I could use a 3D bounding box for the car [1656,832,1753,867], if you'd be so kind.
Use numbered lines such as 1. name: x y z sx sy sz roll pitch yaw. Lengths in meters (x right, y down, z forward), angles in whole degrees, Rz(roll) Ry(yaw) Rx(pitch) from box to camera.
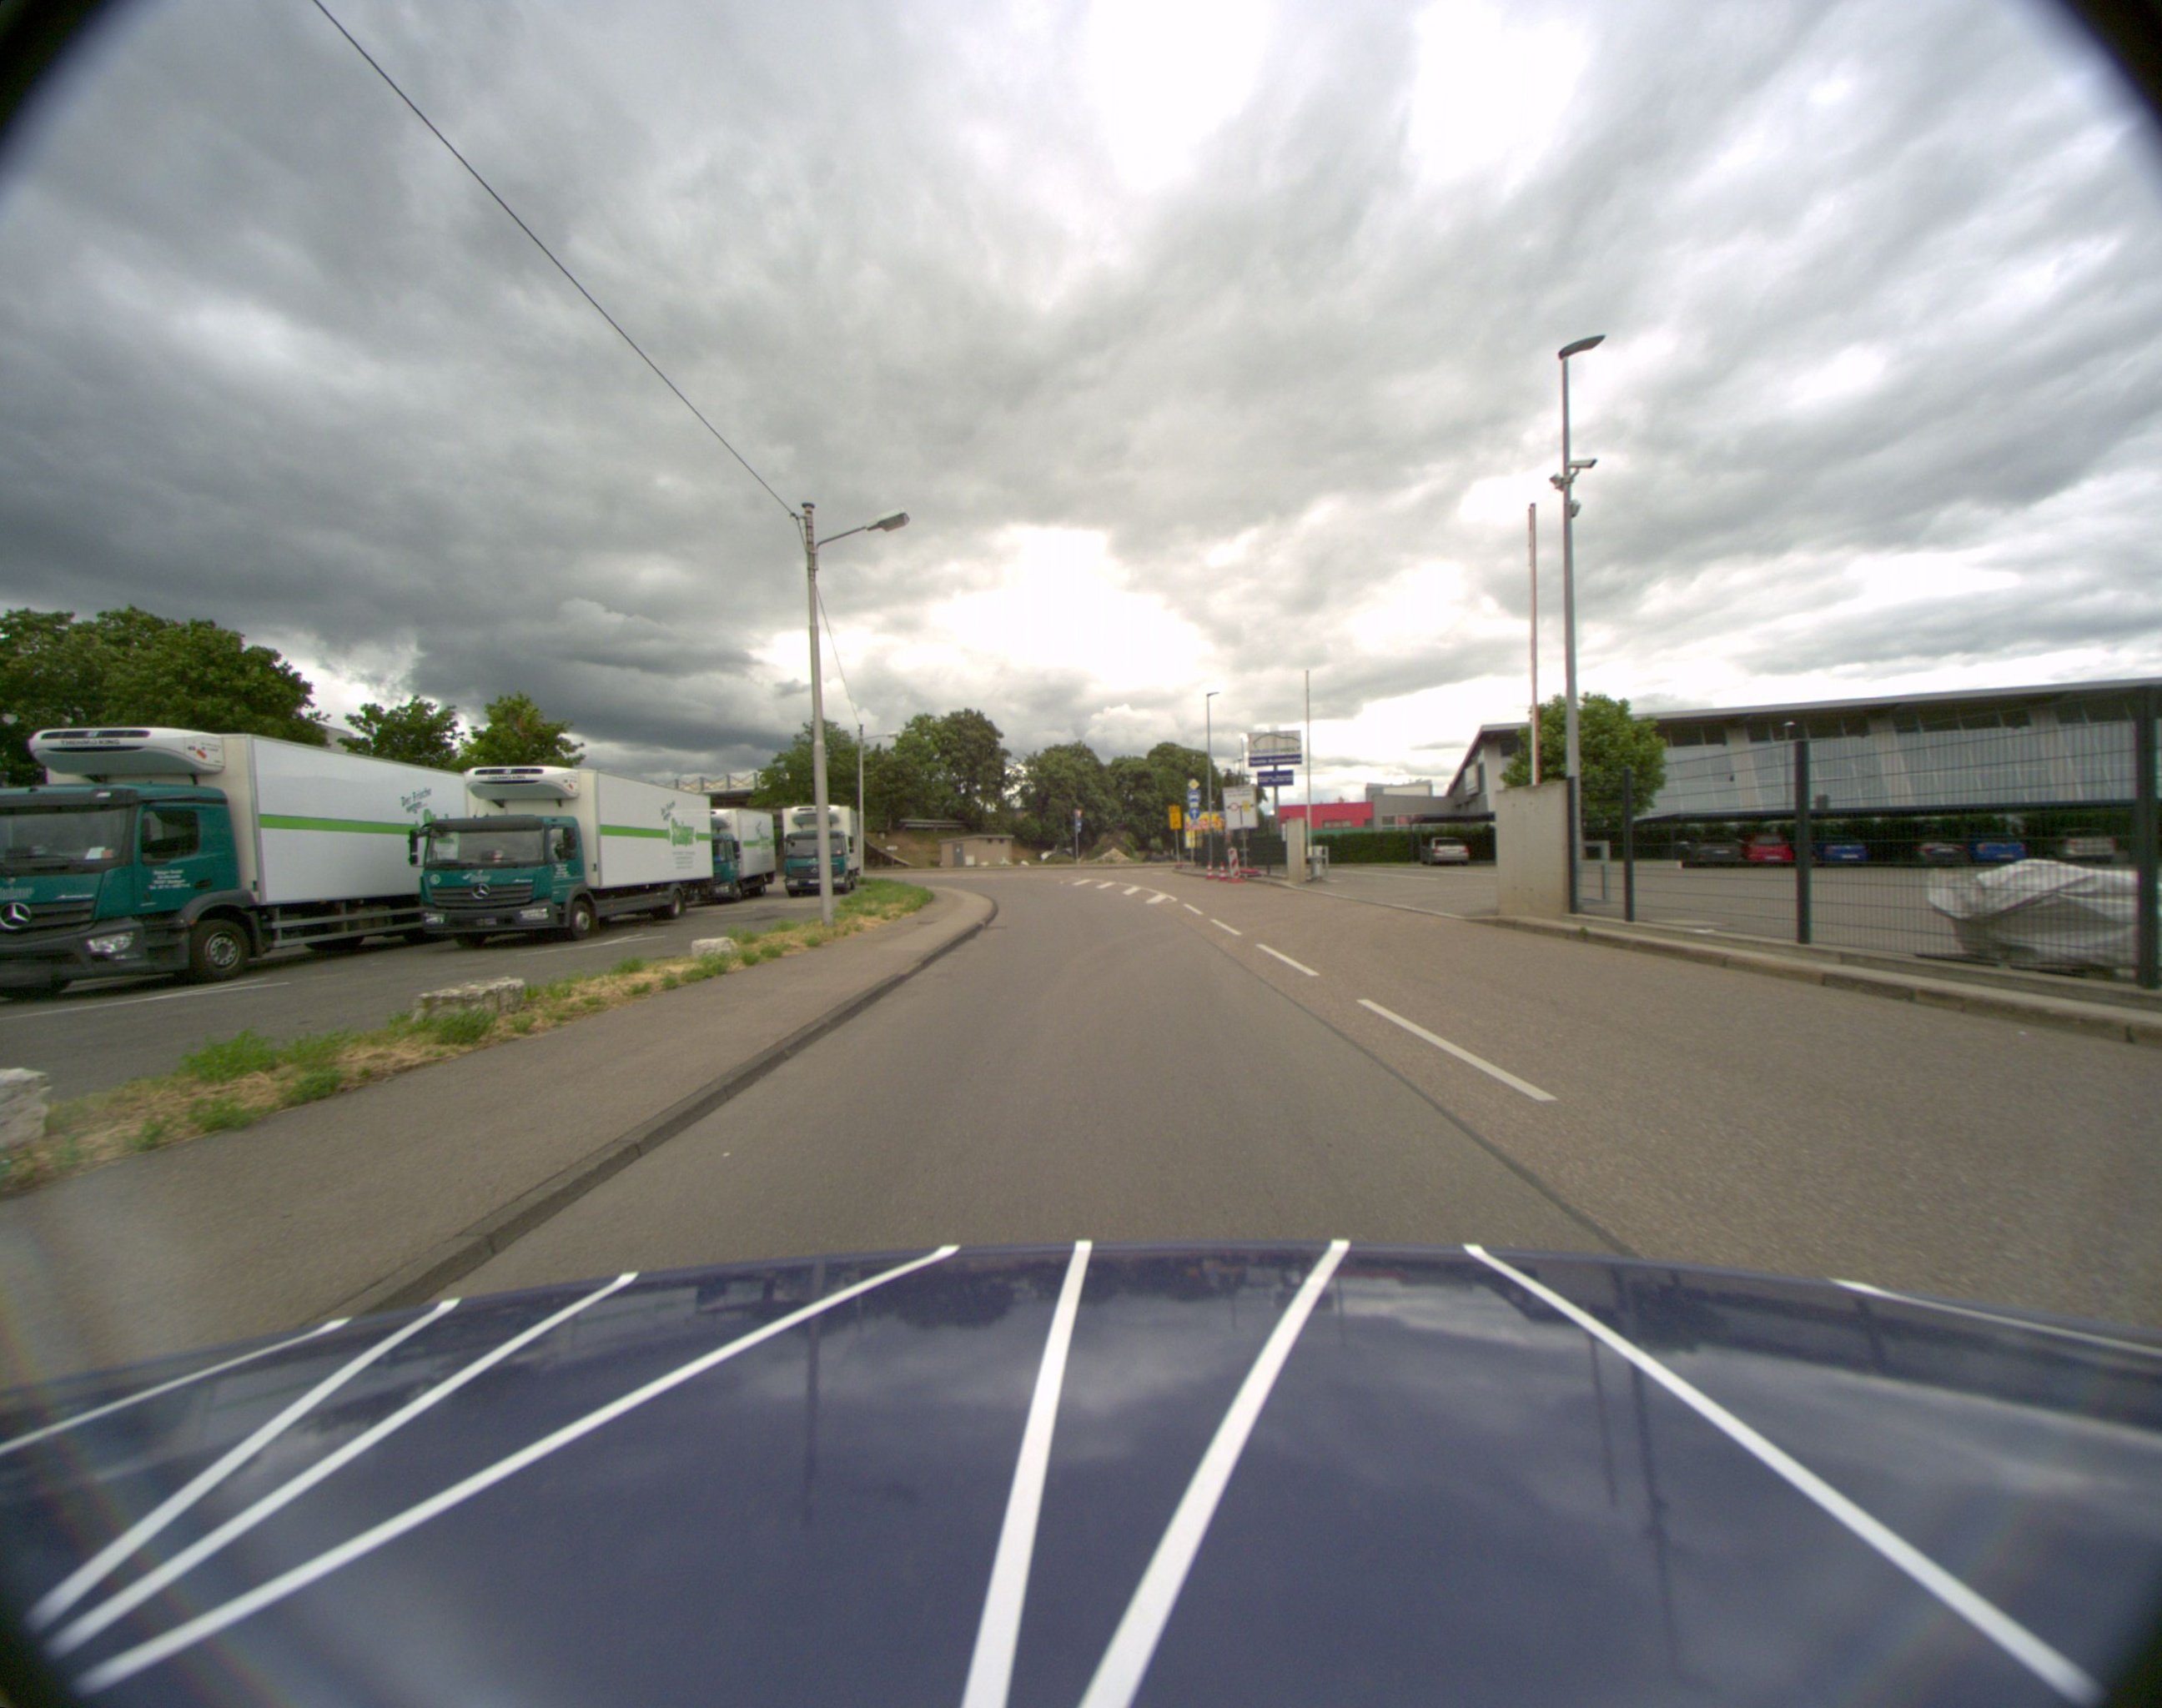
1. car: 29.032 -0.250 35.549 1.964 1.484 4.251 -1 1 15

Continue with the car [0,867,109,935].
1. car: -34.990 1.515 25.552 3.990 2.039 2.003 -1 1 27

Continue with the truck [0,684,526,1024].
1. truck: -15.387 -0.066 14.976 2.989 4.408 10.544 -3 2 -13

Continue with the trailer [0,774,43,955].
1. trailer: -23.152 0.216 10.772 3.067 3.953 13.080 0 0 -19

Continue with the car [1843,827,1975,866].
1. car: 35.998 -0.352 33.218 1.964 1.550 4.251 -1 1 15

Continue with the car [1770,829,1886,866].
1. car: 33.948 -0.338 34.707 1.964 1.550 4.251 -1 1 15

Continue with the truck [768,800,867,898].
1. truck: -11.200 -0.286 33.178 3.074 3.611 8.593 -3 2 -14

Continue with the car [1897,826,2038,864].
1. car: 38.653 -0.418 33.310 1.964 1.550 4.251 -1 1 15

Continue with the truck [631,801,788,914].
1. truck: -14.334 0.022 30.263 3.073 3.611 8.595 -5 2 -10

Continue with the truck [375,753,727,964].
1. truck: -12.286 0.047 19.420 2.989 3.809 10.424 -3 1 -10

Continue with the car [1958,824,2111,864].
1. car: 40.800 -0.454 32.694 1.964 1.550 4.251 -1 1 15

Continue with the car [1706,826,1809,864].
1. car: 31.707 -0.438 35.780 1.964 1.638 4.251 -1 1 15

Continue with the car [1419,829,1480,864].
1. car: 18.923 -0.419 39.237 2.070 1.660 4.251 -1 1 15
